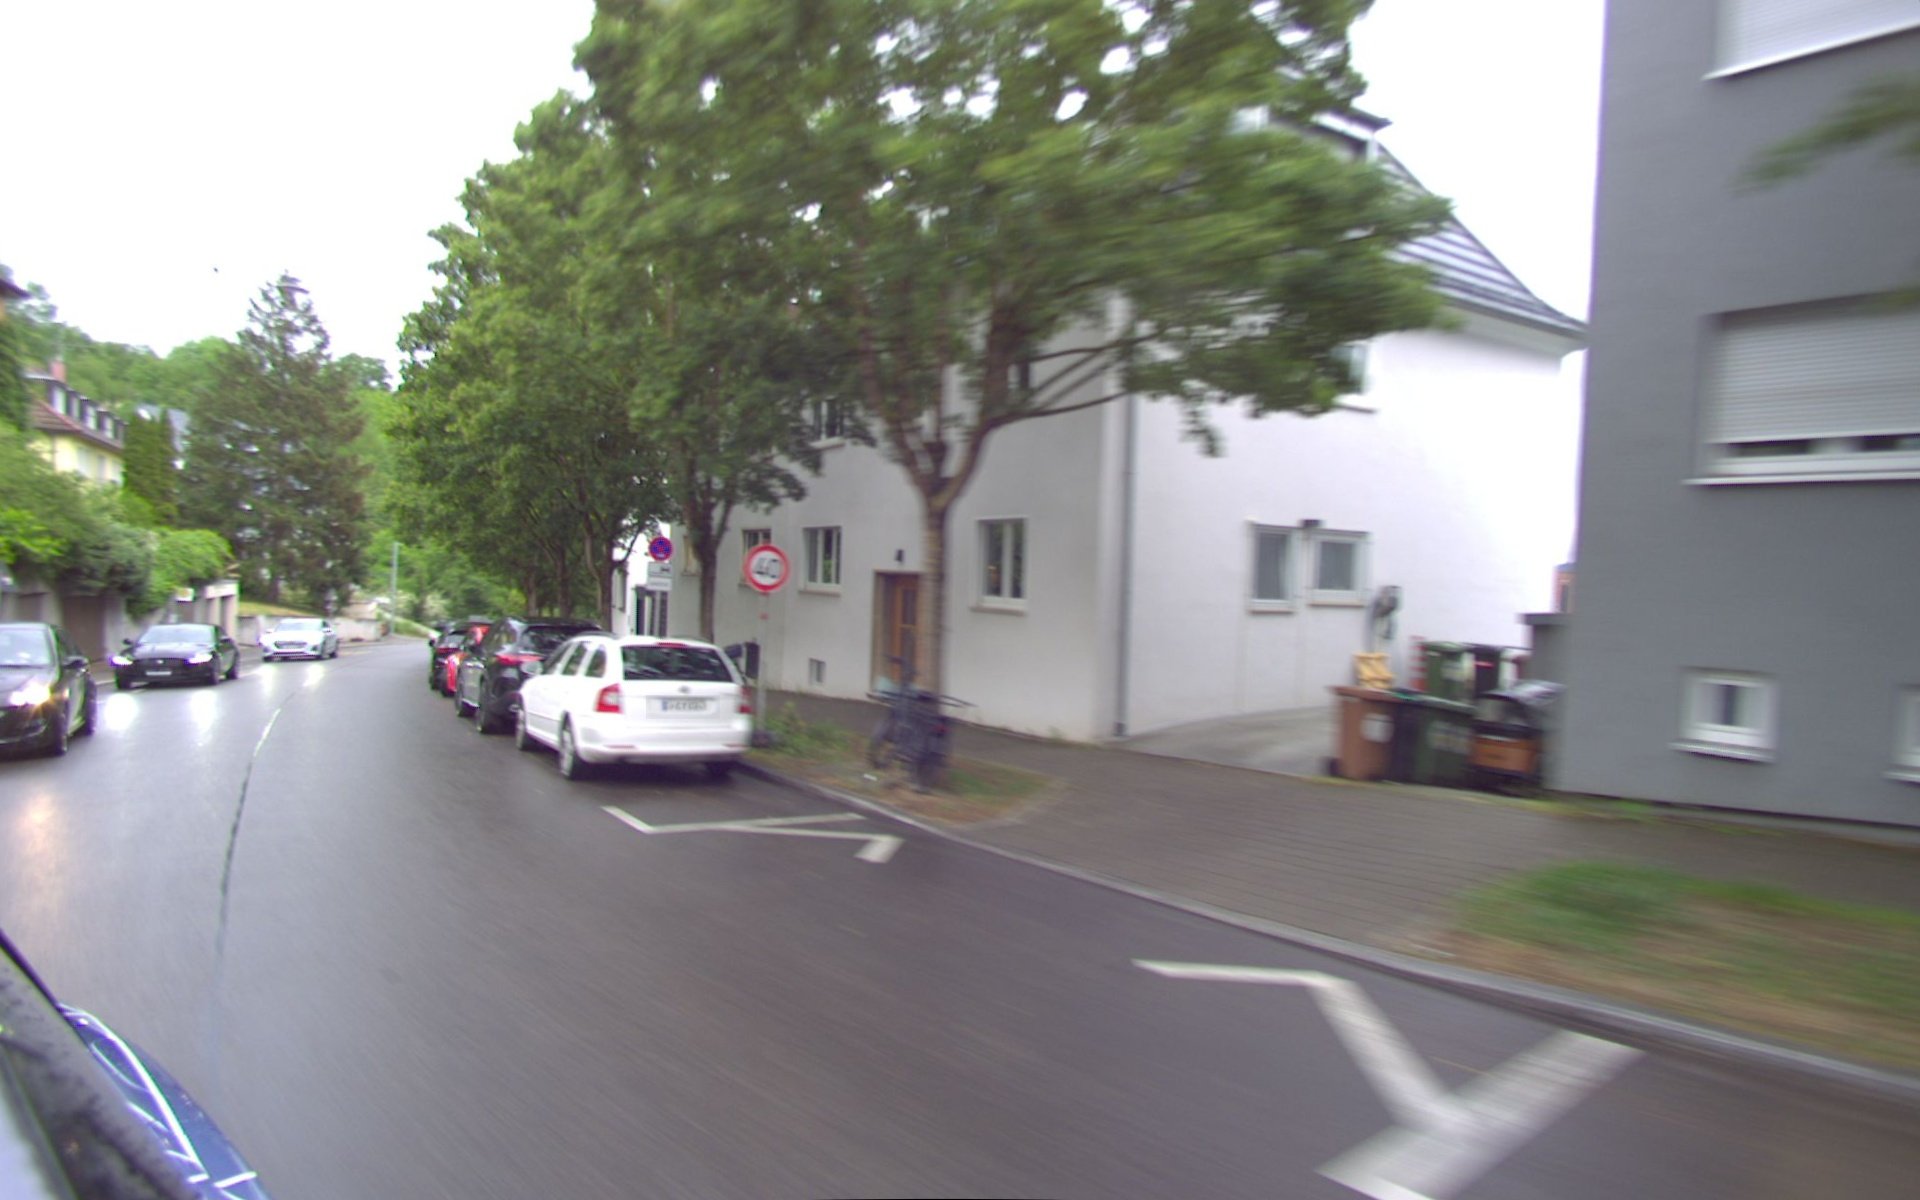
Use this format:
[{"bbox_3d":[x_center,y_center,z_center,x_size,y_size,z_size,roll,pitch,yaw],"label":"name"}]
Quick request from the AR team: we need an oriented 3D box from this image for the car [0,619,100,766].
[{"bbox_3d":[-10.925,0.947,11.345,1.553,1.463,3.596,1,-1,-34],"label":"car"}]

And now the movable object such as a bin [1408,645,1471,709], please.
[{"bbox_3d":[7.451,1.179,15.720,0.633,0.958,0.659,2,-3,-37],"label":"movable object such as a bin"}]

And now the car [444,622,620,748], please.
[{"bbox_3d":[-6.642,1.192,15.405,1.658,1.621,4.589,3,-3,-32],"label":"car"}]

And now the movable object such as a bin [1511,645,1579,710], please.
[{"bbox_3d":[8.920,1.164,15.434,0.703,0.958,0.659,2,-3,-37],"label":"movable object such as a bin"}]

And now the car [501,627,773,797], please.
[{"bbox_3d":[-3.787,1.098,11.330,1.659,1.520,4.327,4,-4,-34],"label":"car"}]

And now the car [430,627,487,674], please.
[{"bbox_3d":[-17.972,1.794,36.377,1.552,1.500,3.481,5,-4,-24],"label":"car"}]

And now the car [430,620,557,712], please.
[{"bbox_3d":[-9.565,1.295,20.595,1.611,1.576,3.859,6,-3,-34],"label":"car"}]

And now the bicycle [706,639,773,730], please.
[{"bbox_3d":[-3.351,1.228,15.281,0.609,1.261,1.911,1,-2,-23],"label":"bicycle"}]

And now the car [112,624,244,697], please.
[{"bbox_3d":[-18.235,1.362,23.778,1.777,1.500,4.030,-1,-1,-28],"label":"car"}]

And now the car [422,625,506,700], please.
[{"bbox_3d":[-11.866,1.434,24.124,1.533,1.500,4.111,5,-3,-27],"label":"car"}]

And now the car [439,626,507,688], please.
[{"bbox_3d":[-13.712,1.554,28.484,1.533,1.522,3.394,5,-3,-26],"label":"car"}]

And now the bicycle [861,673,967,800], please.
[{"bbox_3d":[-0.488,1.264,9.832,0.429,1.037,1.911,1,-2,-21],"label":"bicycle"}]

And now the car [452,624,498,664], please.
[{"bbox_3d":[-22.435,2.011,46.875,1.595,1.671,3.937,6,-3,-23],"label":"car"}]

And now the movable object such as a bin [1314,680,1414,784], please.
[{"bbox_3d":[4.029,1.299,10.118,0.646,0.958,0.646,1,-2,-23],"label":"movable object such as a bin"}]

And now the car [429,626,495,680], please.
[{"bbox_3d":[-15.972,1.654,32.608,1.641,1.500,4.490,5,-3,-24],"label":"car"}]

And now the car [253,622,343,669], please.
[{"bbox_3d":[-25.750,1.745,39.522,1.979,1.674,4.460,3,-3,-21],"label":"car"}]

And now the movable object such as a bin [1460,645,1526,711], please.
[{"bbox_3d":[8.100,1.164,15.376,0.671,0.958,0.659,2,-3,-37],"label":"movable object such as a bin"}]

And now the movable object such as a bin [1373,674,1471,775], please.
[{"bbox_3d":[4.744,1.258,10.408,0.646,0.958,0.646,1,-2,-23],"label":"movable object such as a bin"}]

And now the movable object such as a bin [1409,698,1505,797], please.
[{"bbox_3d":[5.289,1.553,10.794,0.646,0.958,0.646,1,-2,-23],"label":"movable object such as a bin"}]
